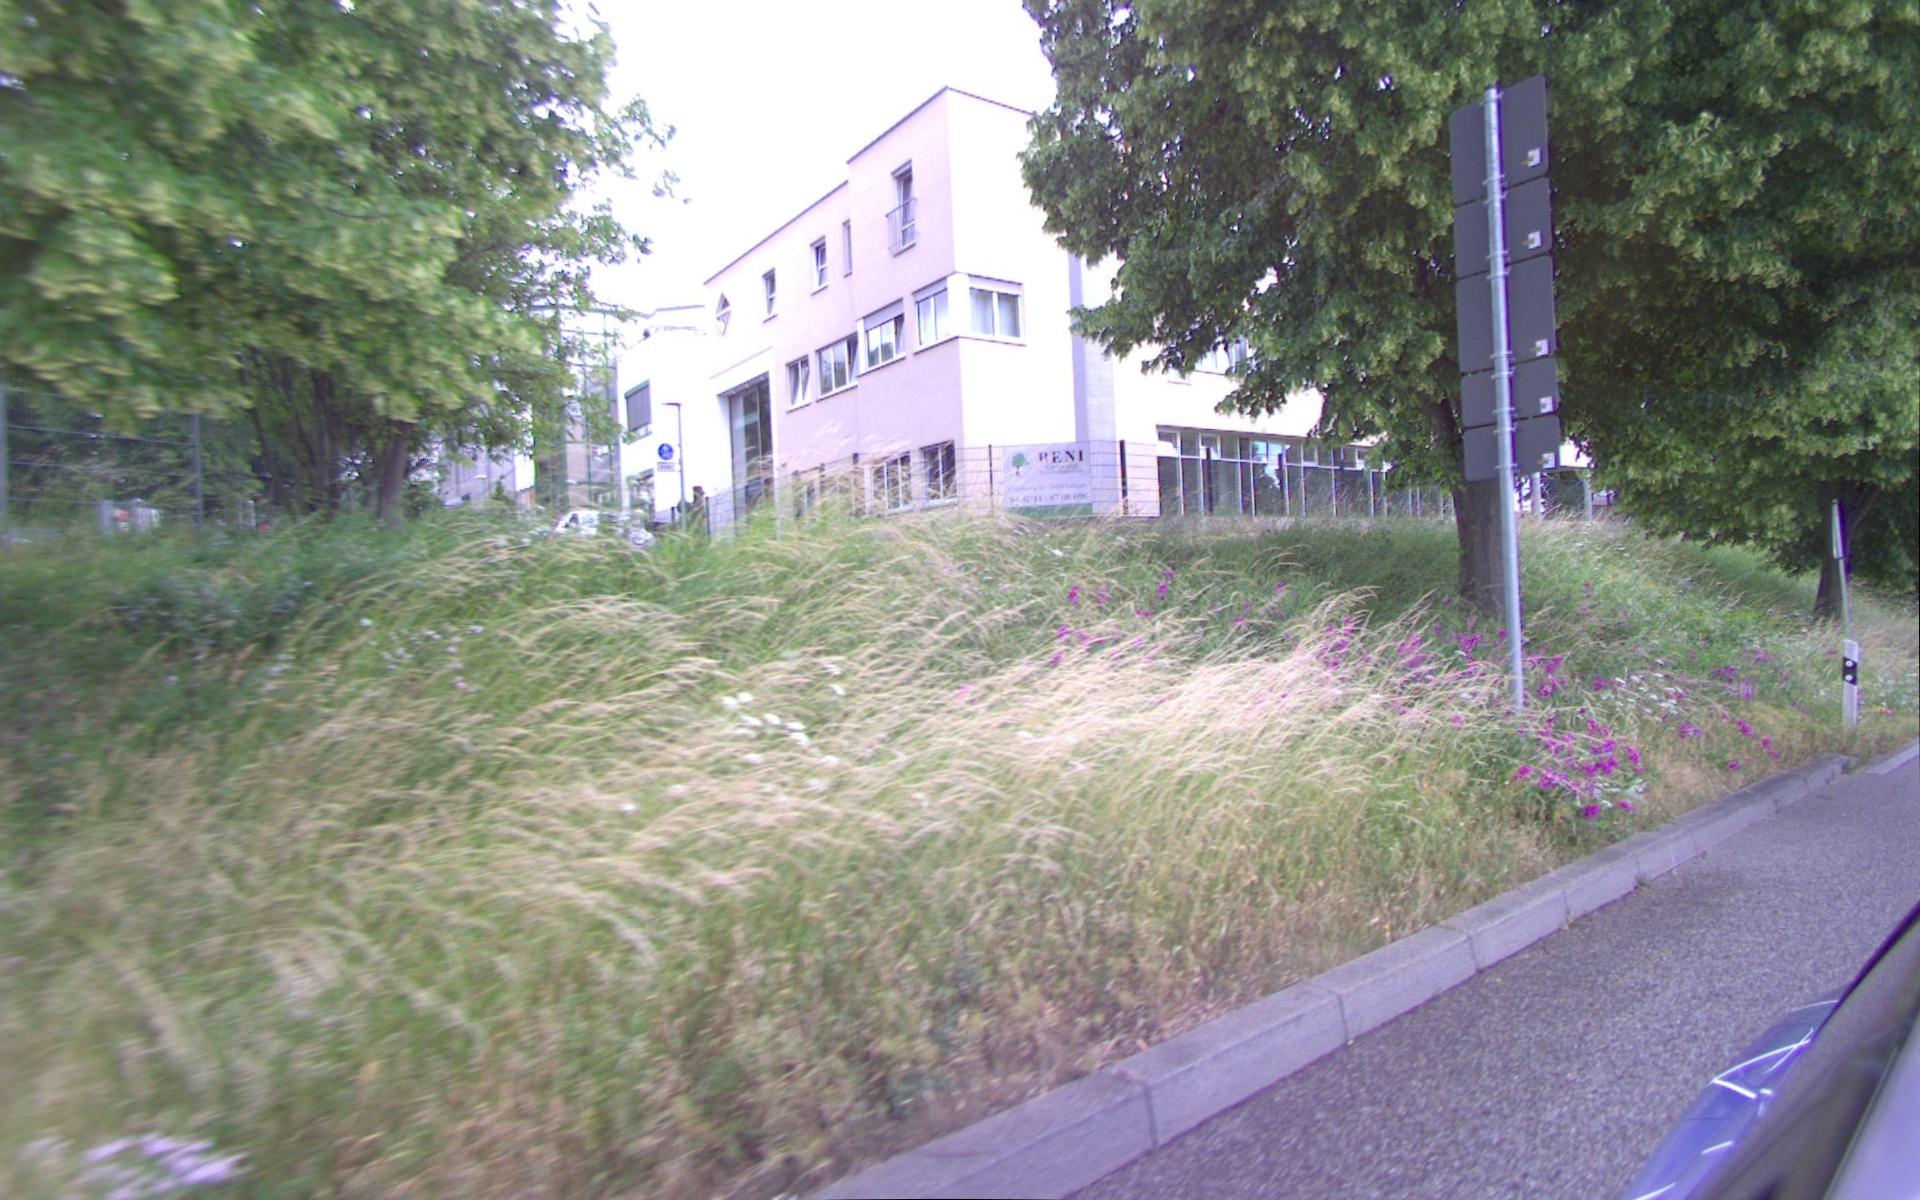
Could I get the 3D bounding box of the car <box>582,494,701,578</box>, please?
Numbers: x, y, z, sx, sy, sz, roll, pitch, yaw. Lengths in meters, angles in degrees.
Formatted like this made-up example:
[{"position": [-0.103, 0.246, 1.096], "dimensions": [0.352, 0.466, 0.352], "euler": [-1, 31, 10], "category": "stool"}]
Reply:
[{"position": [-6.769, -1.276, 21.317], "dimensions": [1.546, 1.529, 3.370], "euler": [0, 0, -33], "category": "car"}]
